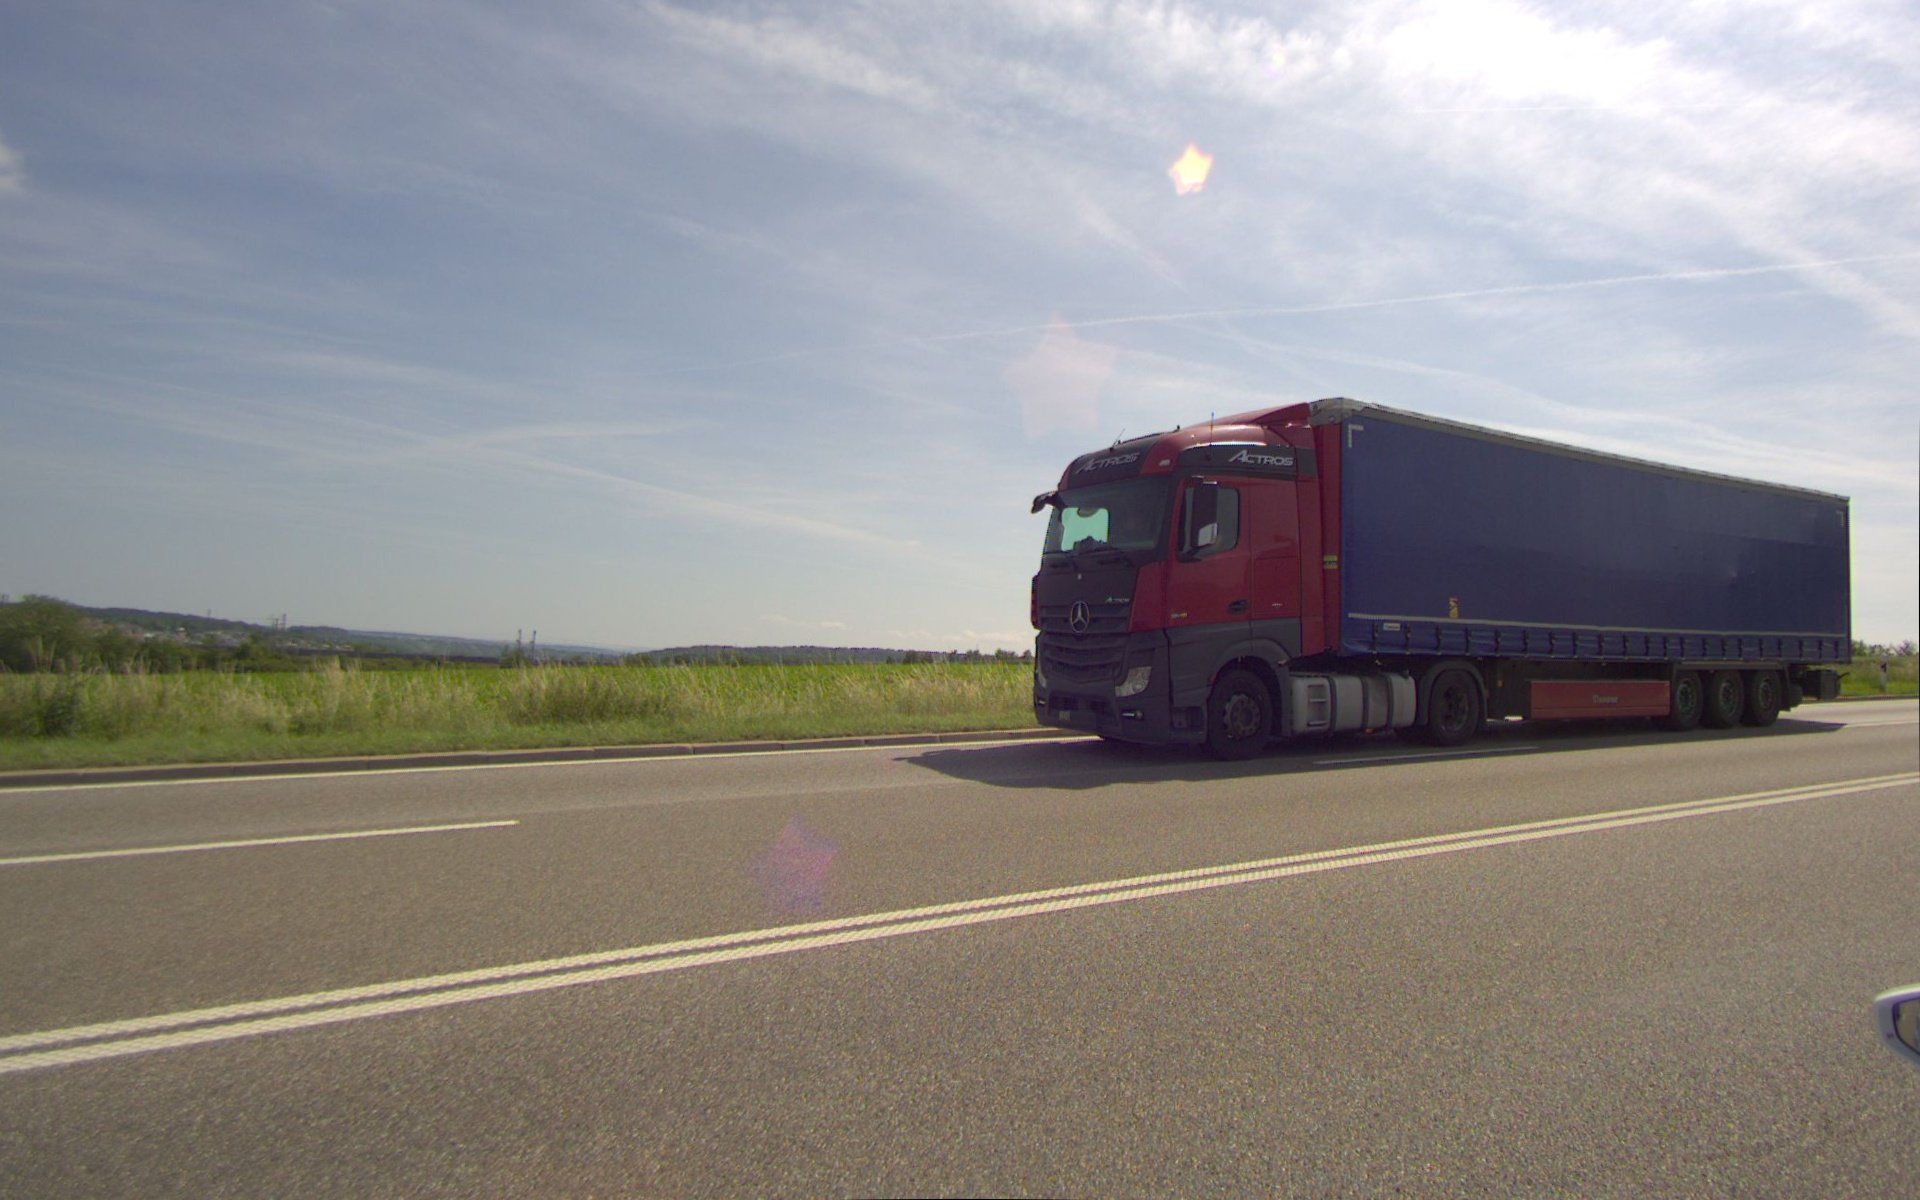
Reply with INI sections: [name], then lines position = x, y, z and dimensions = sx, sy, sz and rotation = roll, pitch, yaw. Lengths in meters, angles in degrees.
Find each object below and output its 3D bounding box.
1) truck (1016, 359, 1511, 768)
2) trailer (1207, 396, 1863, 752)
[truck]
position = 3.956, -0.269, 12.797
dimensions = 6.014, 4.155, 2.606
rotation = 2, -2, -29
[trailer]
position = 9.907, -0.101, 16.098
dimensions = 13.417, 4.155, 2.535
rotation = 2, -2, -29
